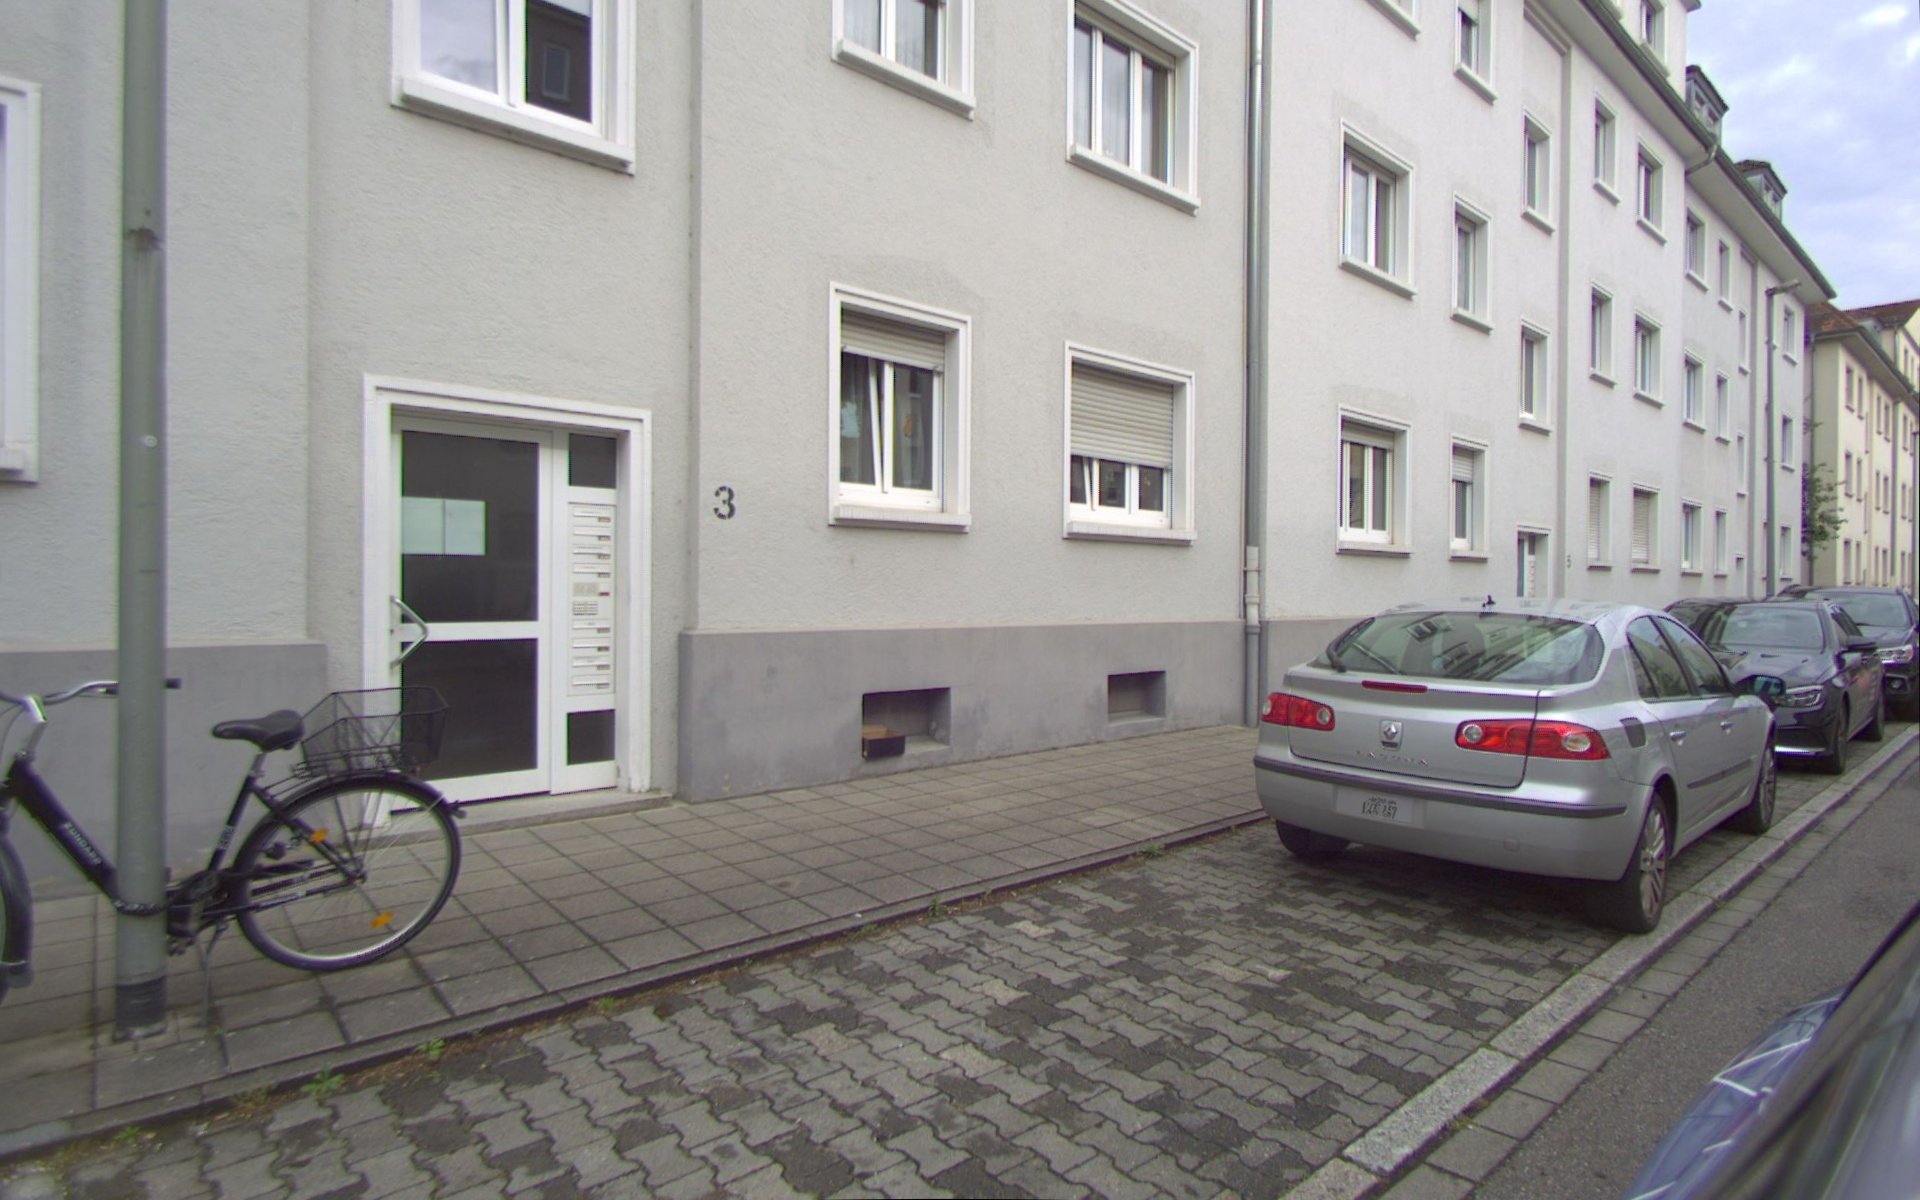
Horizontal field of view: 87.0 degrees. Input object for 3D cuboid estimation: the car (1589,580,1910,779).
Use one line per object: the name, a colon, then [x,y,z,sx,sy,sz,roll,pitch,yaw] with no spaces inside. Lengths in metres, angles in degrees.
car: [7.703,0.580,9.713,4.250,1.481,1.784,0,1,-43]

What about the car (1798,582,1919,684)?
car: [15.331,0.494,16.714,3.691,1.505,1.735,0,1,-42]

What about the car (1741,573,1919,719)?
car: [11.778,0.503,13.220,4.090,1.619,1.850,0,1,-43]

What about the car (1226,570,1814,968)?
car: [3.511,0.613,5.901,4.356,1.481,1.734,0,1,-43]

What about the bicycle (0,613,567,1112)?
bicycle: [-2.311,0.677,3.162,1.862,1.215,0.750,0,2,-41]
